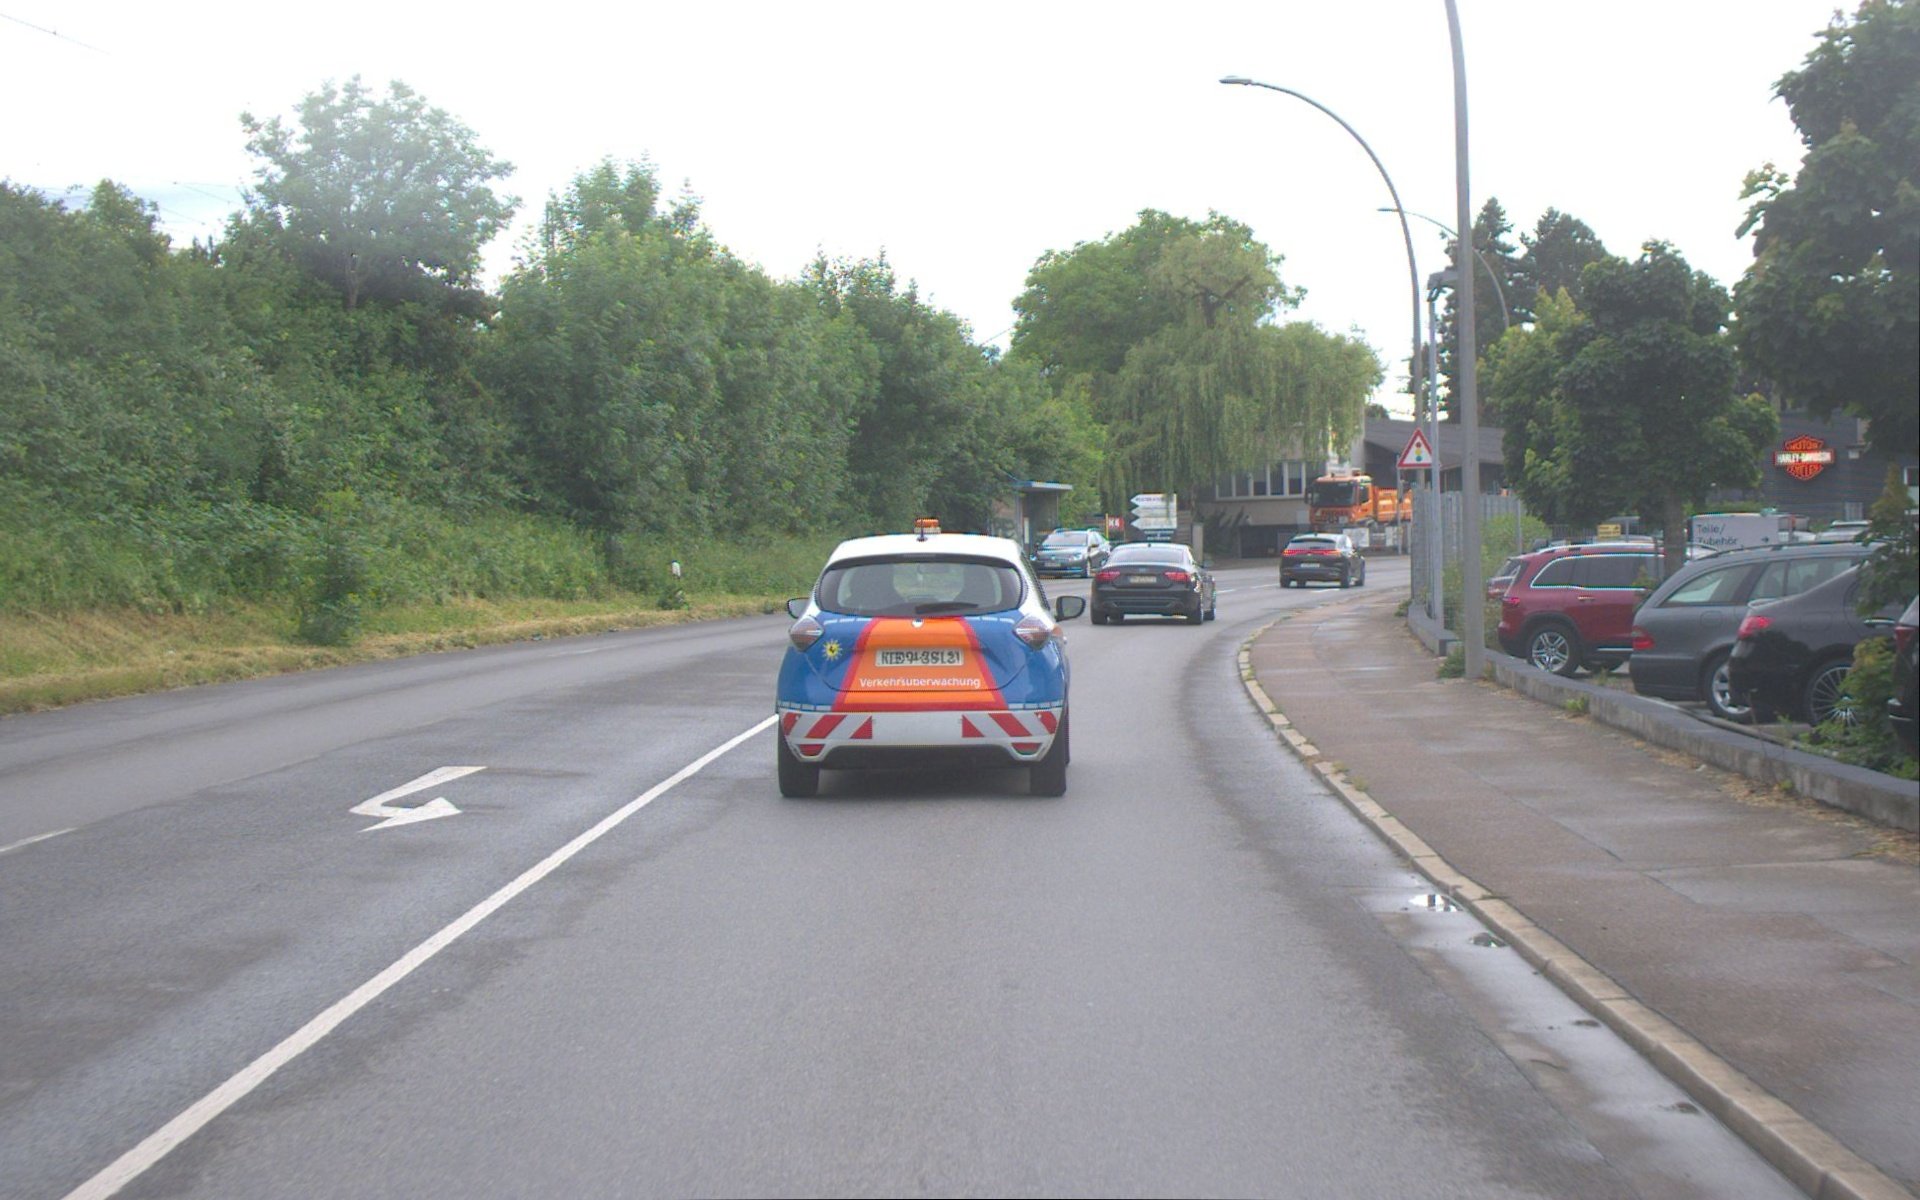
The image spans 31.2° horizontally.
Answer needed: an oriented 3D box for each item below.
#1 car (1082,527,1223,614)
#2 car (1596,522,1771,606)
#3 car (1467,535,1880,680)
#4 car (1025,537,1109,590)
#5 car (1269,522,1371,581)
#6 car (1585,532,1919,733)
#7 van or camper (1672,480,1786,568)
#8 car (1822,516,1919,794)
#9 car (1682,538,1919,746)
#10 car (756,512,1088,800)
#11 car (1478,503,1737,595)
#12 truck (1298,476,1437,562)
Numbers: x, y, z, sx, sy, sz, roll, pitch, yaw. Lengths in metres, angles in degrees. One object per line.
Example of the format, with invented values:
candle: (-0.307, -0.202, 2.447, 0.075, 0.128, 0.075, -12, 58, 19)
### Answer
car: (3.303, -0.478, 58.399, 1.721, 1.371, 3.931, 2, 0, 13)
car: (17.505, -0.872, 83.166, 3.990, 2.007, 1.710, 0, 1, 18)
car: (9.031, 0.083, 43.648, 4.691, 1.657, 1.996, 2, 0, 33)
car: (3.228, -1.066, 102.966, 1.994, 1.469, 4.699, 2, 0, 7)
car: (9.441, -1.254, 89.878, 1.995, 1.415, 3.997, 2, 0, 15)
car: (7.485, 0.277, 28.713, 3.996, 1.550, 1.894, 2, 0, 40)
van or camper: (23.678, -2.341, 105.622, 2.044, 2.584, 6.581, -1, 1, 25)
car: (7.041, 0.319, 19.047, 1.836, 1.602, 4.550, -2, 2, -27)
car: (7.747, 0.289, 25.138, 4.437, 1.474, 1.931, 1, 1, 35)
car: (-0.275, 0.278, 21.699, 1.888, 1.626, 4.001, -1, 1, -2)
car: (10.799, -0.848, 57.591, 4.109, 1.365, 1.999, 2, 0, 8)
truck: (17.963, -3.515, 151.005, 2.702, 3.400, 9.056, 2, 0, 29)
